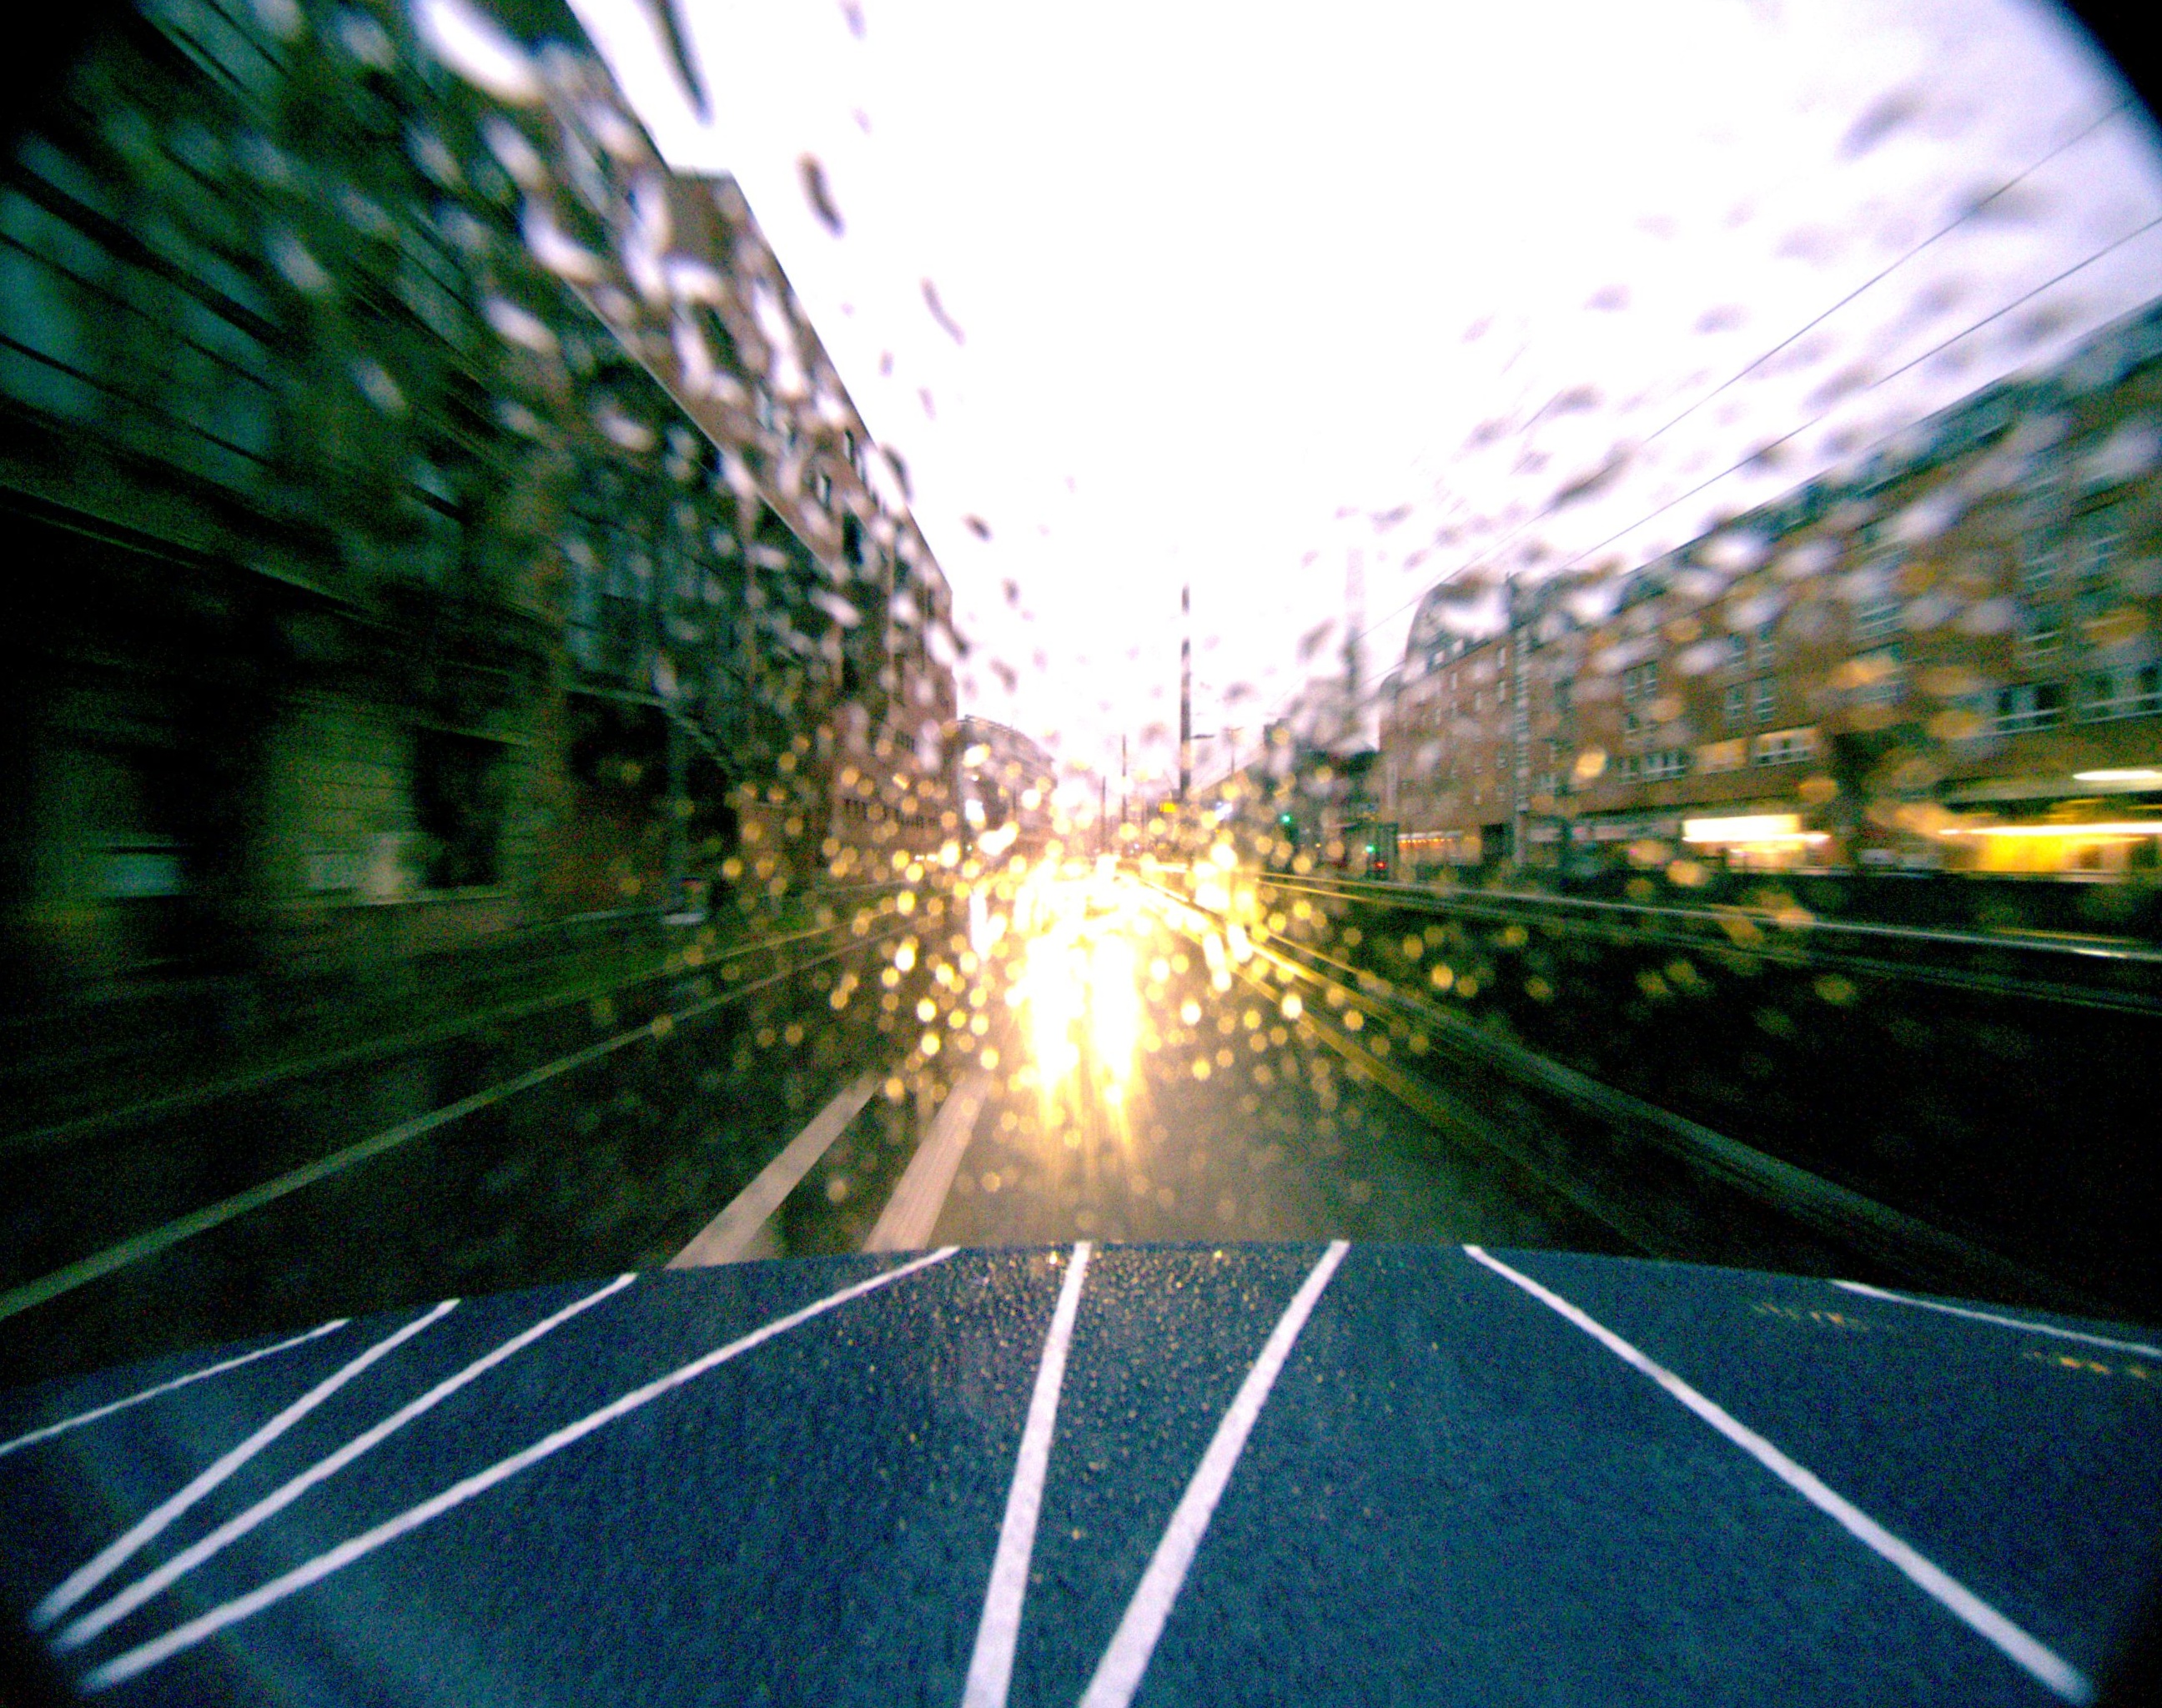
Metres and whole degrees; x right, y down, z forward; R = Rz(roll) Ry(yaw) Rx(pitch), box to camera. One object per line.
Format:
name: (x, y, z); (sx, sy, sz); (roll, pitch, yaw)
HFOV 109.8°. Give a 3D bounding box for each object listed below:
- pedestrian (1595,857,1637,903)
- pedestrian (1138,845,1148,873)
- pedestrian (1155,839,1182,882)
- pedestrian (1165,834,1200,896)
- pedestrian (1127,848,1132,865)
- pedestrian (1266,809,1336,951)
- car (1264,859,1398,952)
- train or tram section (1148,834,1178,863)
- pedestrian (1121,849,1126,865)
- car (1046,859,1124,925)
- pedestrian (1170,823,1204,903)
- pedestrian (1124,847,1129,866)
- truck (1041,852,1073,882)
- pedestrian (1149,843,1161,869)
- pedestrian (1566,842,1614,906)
pedestrian: (13.178, 0.638, 18.720); (0.608, 1.096, 0.591); (-2, 1, 1)
pedestrian: (3.722, 0.324, 45.738); (0.482, 1.669, 0.563); (-1, 1, -2)
pedestrian: (3.545, 0.265, 30.790); (0.779, 1.694, 0.772); (-1, 1, -18)
pedestrian: (3.269, 0.347, 24.548); (0.802, 1.936, 0.814); (0, 1, 40)
pedestrian: (5.152, 0.275, 80.731); (0.413, 1.835, 0.669); (-1, 1, -4)
pedestrian: (3.358, 0.388, 11.654); (0.812, 2.098, 0.804); (-1, 1, -2)
car: (4.426, 0.844, 13.879); (1.435, 1.434, 3.136); (-2, 0, 1)
train or tram section: (10.949, -0.699, 102.013); (2.907, 3.547, 11.034); (-2, 0, 1)
pedestrian: (4.378, 0.303, 78.939); (0.434, 1.725, 0.473); (-1, 1, -5)
car: (0.090, 0.901, 19.839); (1.774, 1.449, 4.221); (-2, 0, 0)
pedestrian: (2.867, 0.240, 20.634); (0.811, 2.098, 0.804); (0, 1, 1)
pedestrian: (4.742, 0.237, 78.501); (0.434, 1.956, 0.473); (-1, 1, -5)
truck: (-1.558, 0.841, 50.794); (1.909, 1.906, 4.616); (-2, 0, 0)
pedestrian: (4.450, 0.112, 45.555); (0.620, 1.581, 0.622); (-1, 1, -2)
pedestrian: (12.524, 0.479, 18.719); (0.636, 1.515, 0.756); (-2, 1, 1)
